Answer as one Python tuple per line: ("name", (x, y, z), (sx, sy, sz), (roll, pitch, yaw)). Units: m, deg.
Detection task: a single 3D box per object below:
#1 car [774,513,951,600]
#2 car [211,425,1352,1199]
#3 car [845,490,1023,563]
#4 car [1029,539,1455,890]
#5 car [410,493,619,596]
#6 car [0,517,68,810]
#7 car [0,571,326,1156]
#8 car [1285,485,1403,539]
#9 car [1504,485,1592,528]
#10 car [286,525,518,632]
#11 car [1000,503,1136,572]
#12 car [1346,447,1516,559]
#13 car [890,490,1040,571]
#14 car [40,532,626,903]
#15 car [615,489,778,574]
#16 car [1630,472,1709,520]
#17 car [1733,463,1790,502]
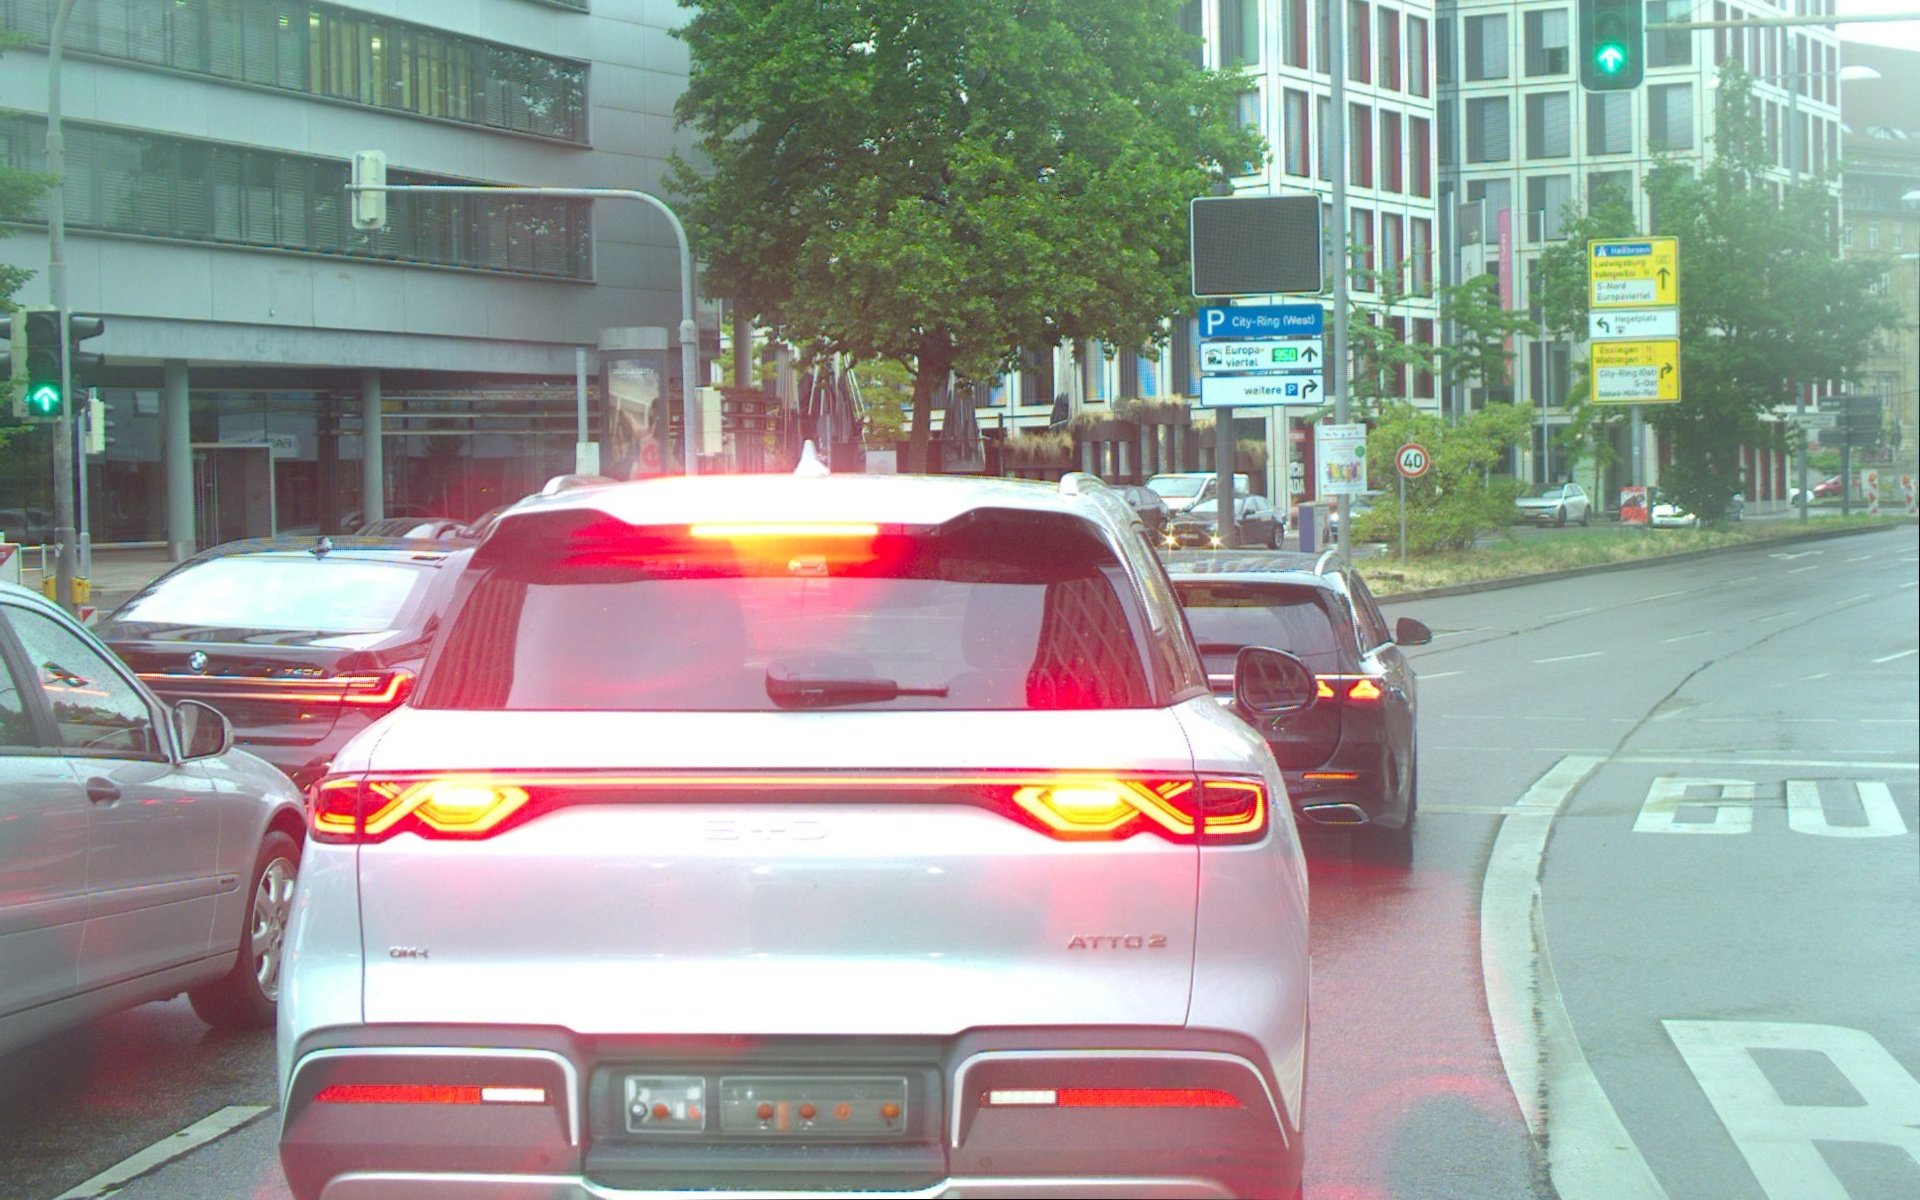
("car", (-1.590, -0.719, 57.534), (1.692, 1.380, 3.865), (1, 1, 19))
("car", (-0.234, 0.553, 7.385), (1.776, 1.673, 4.000), (1, 1, 2))
("car", (-0.515, -1.634, 75.246), (1.816, 1.505, 5.189), (0, 2, 25))
("car", (1.488, 0.472, 16.780), (1.694, 1.481, 3.998), (1, 1, 10))
("car", (-6.840, -0.868, 53.186), (1.645, 1.530, 4.149), (1, 1, 17))
("car", (-5.878, 0.318, 16.307), (1.707, 1.481, 3.998), (1, 1, 9))
("car", (-3.032, 0.629, 8.877), (1.571, 1.402, 4.108), (1, 1, 7))
("car", (10.861, -2.489, 97.056), (1.996, 1.483, 3.994), (0, 2, 27))
("car", (21.011, -3.353, 122.740), (1.996, 1.483, 3.994), (0, 2, 27))
("car", (-9.040, -0.384, 55.993), (1.996, 1.605, 3.996), (2, 2, 20))
("car", (2.592, -1.503, 81.423), (1.633, 1.553, 4.588), (0, 2, 23))
("car", (8.962, -1.807, 65.126), (1.996, 2.007, 4.843), (1, 1, 23))
("car", (0.132, -1.398, 69.243), (1.645, 1.575, 4.081), (1, 1, 21))
("car", (-2.751, 0.457, 15.965), (1.571, 1.481, 3.999), (1, 1, 7))
("car", (-5.008, -1.294, 65.751), (1.640, 1.565, 3.714), (1, 1, 22))
("car", (21.921, -3.217, 106.148), (1.633, 1.432, 3.903), (0, 2, 23))
("car", (38.124, -5.577, 163.486), (1.609, 1.735, 3.439), (1, 1, 32))
